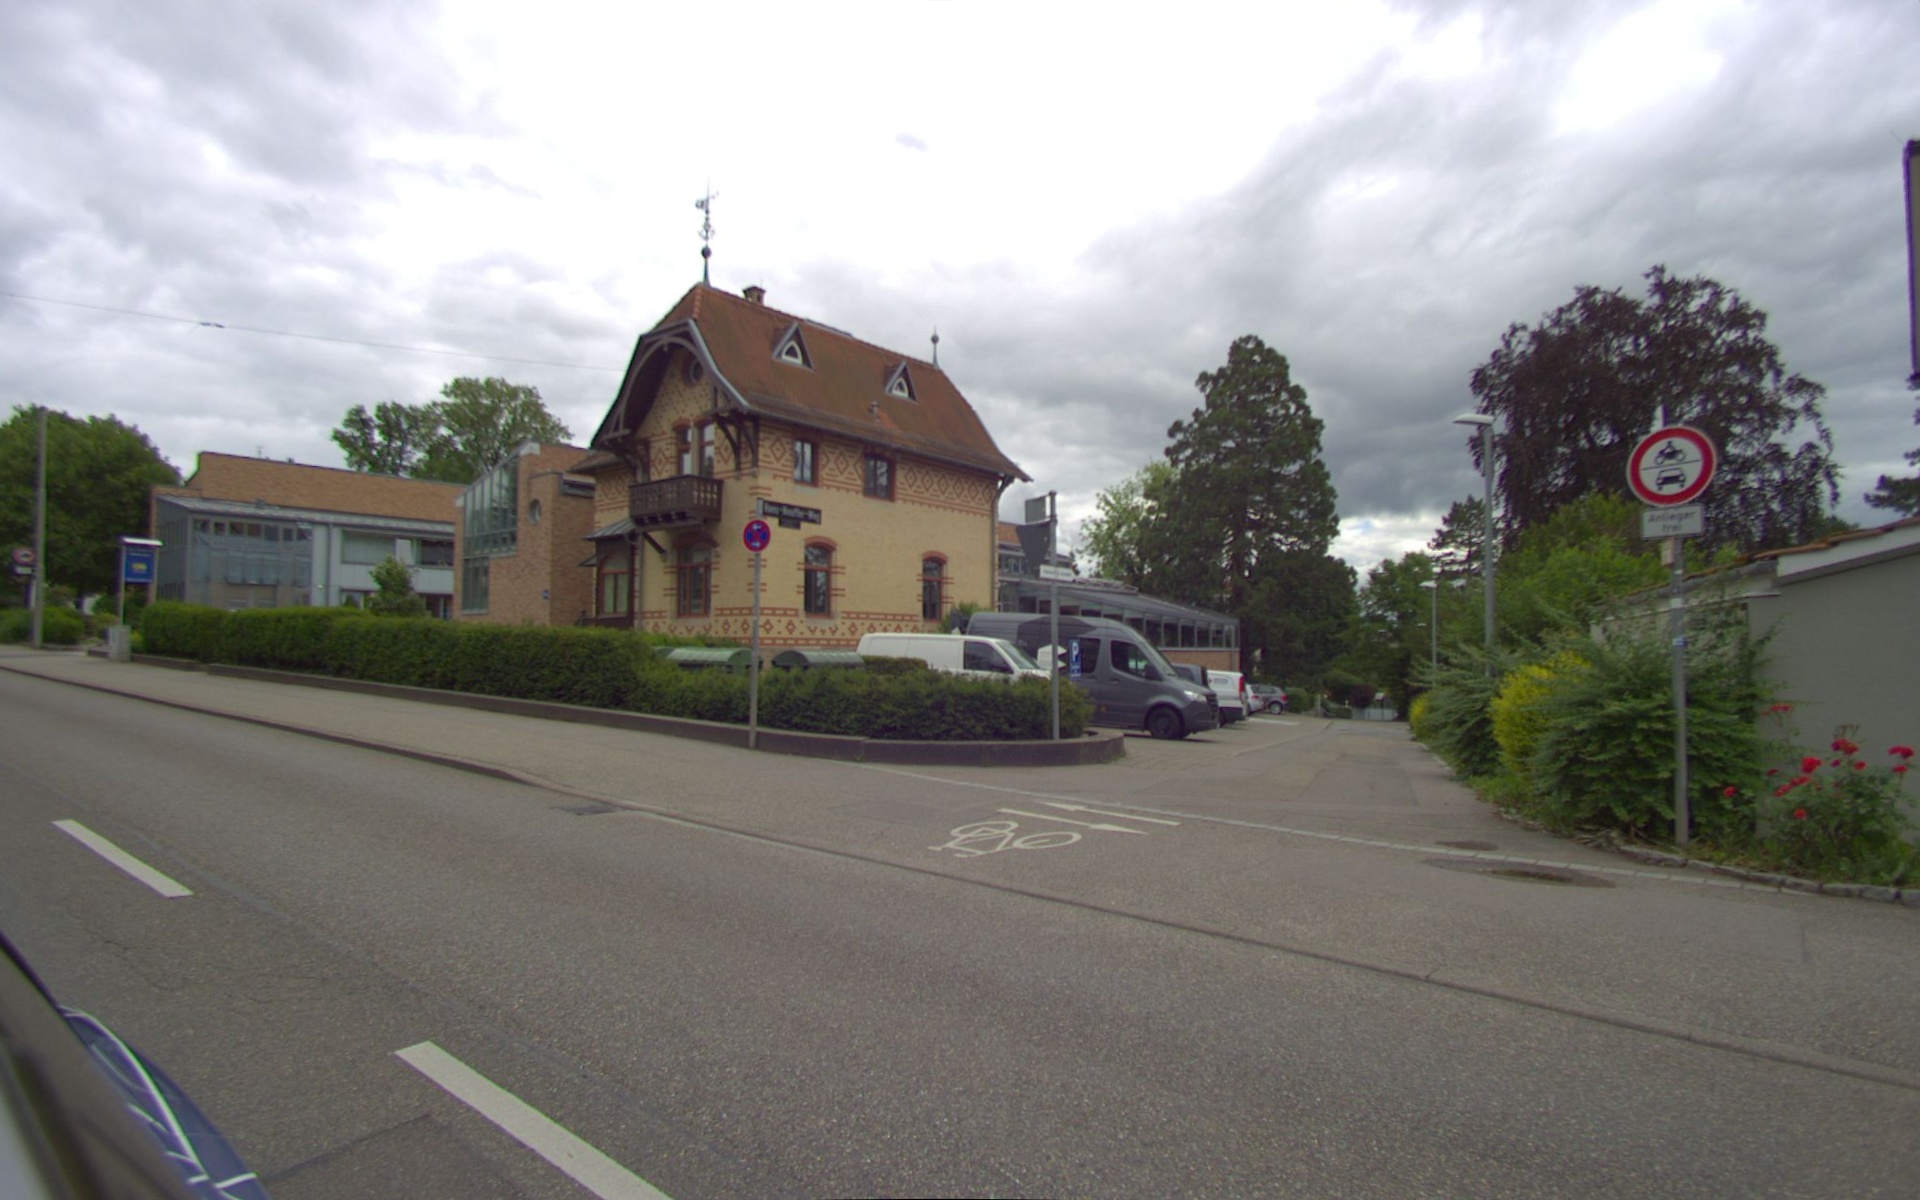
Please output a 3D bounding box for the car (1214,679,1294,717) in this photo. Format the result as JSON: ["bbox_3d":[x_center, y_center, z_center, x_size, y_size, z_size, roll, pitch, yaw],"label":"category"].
[{"bbox_3d":[15.498,5.126,53.406,3.784,1.784,1.660,0,-2,29],"label":"car"}]

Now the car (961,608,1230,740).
[{"bbox_3d":[3.018,1.566,22.834,5.688,2.639,1.983,0,-2,25],"label":"car"}]

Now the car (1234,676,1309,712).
[{"bbox_3d":[17.300,5.204,56.272,3.784,1.784,1.660,0,-2,29],"label":"car"}]

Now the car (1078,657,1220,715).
[{"bbox_3d":[5.525,2.460,29.647,3.784,1.488,1.660,0,-3,29],"label":"car"}]

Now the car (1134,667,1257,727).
[{"bbox_3d":[7.960,3.233,34.244,3.784,1.784,1.660,0,-3,29],"label":"car"}]

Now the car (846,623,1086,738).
[{"bbox_3d":[0.088,1.571,20.858,4.595,2.085,1.876,0,-3,29],"label":"car"}]
